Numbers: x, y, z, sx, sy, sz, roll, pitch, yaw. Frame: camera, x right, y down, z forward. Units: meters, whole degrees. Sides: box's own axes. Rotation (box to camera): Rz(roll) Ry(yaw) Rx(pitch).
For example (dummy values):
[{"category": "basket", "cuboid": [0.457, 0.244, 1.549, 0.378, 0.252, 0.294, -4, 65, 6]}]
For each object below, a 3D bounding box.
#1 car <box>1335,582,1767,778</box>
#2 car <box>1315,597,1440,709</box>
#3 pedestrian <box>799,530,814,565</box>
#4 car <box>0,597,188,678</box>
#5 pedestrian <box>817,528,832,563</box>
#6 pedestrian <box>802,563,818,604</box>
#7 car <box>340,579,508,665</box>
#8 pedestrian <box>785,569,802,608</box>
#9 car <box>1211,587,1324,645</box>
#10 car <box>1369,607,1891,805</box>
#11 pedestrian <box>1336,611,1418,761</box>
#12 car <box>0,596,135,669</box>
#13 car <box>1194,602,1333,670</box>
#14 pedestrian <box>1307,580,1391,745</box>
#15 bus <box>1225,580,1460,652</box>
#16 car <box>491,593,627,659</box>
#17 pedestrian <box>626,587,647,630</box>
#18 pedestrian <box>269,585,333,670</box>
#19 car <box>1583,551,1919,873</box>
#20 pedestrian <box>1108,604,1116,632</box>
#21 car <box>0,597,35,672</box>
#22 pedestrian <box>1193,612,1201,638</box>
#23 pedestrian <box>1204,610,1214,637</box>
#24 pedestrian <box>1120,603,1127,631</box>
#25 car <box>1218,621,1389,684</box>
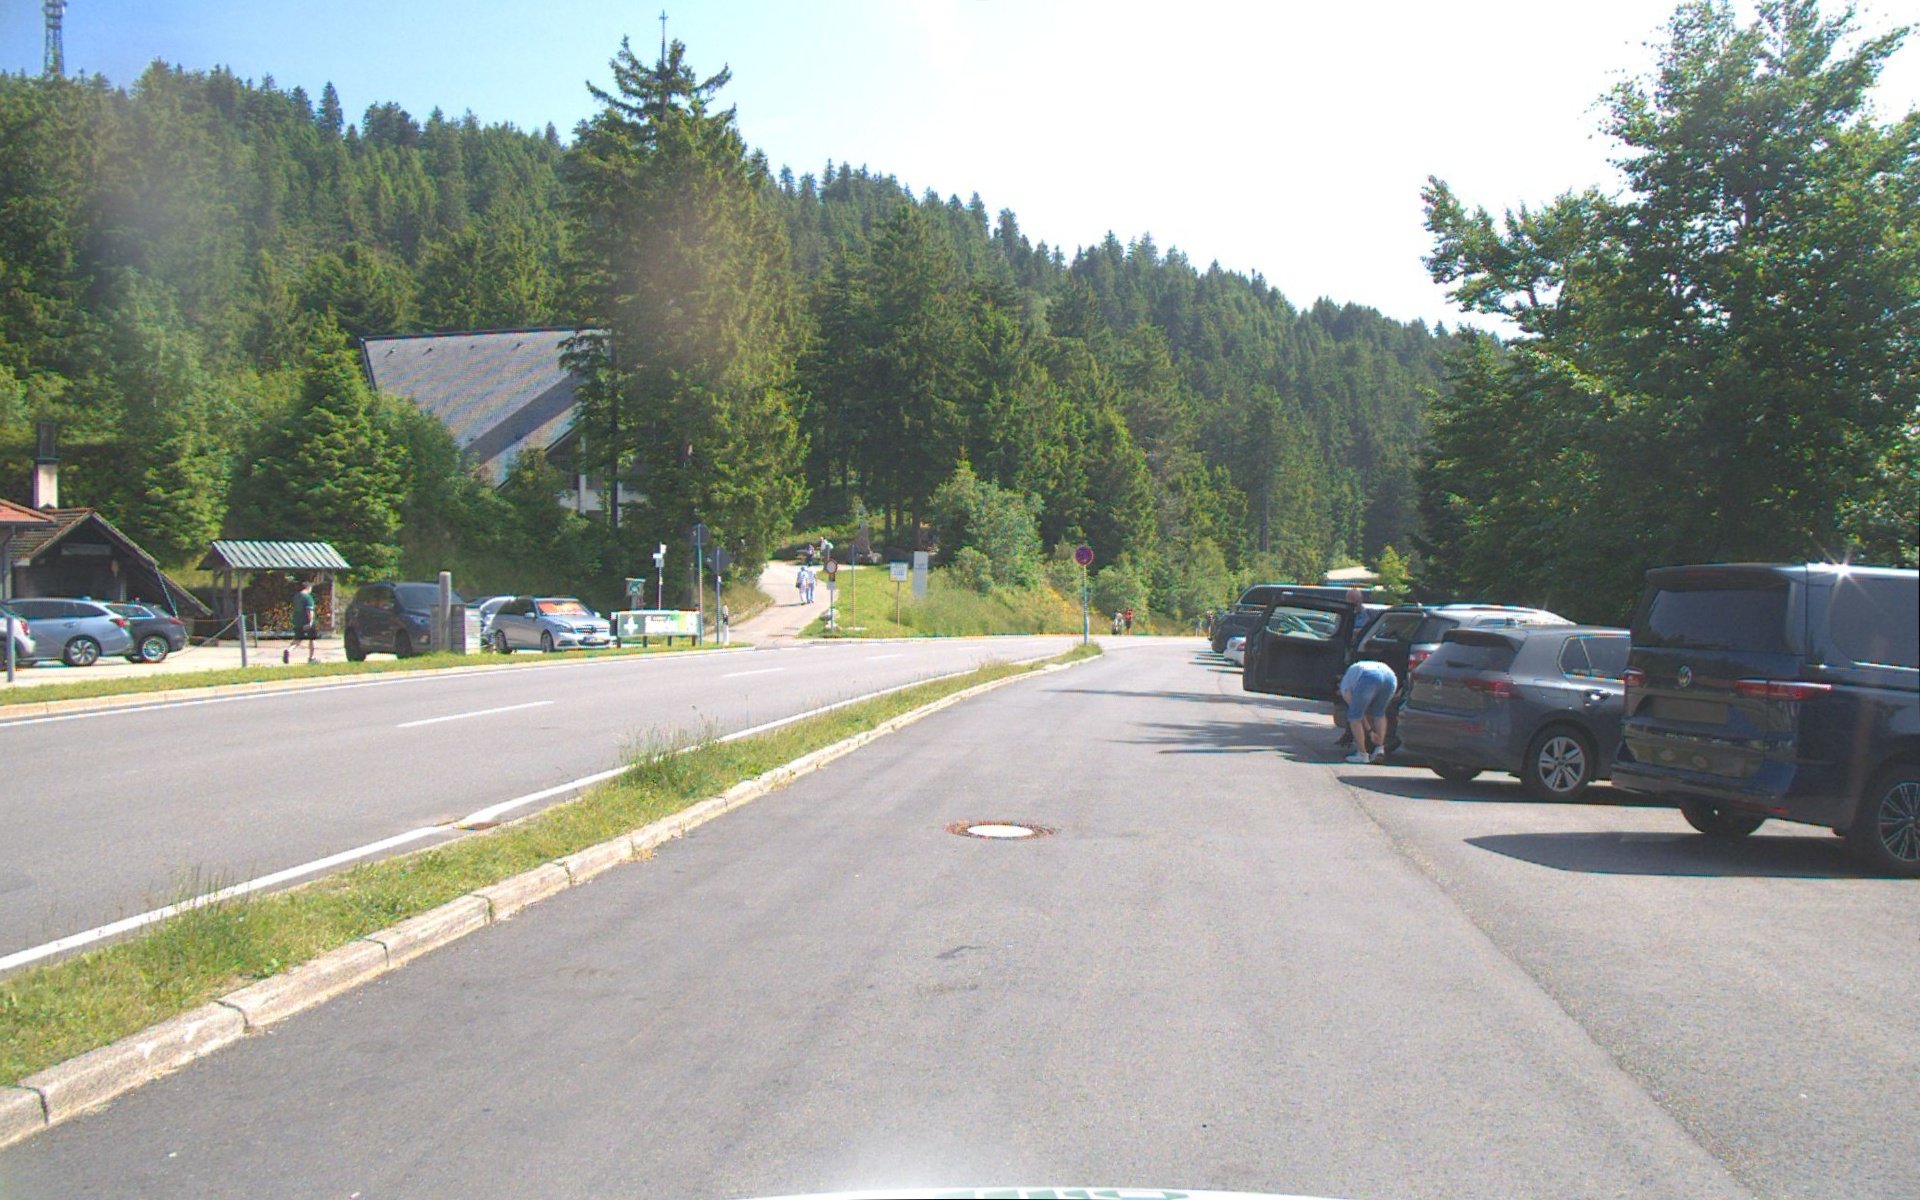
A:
[{"category": "car", "cuboid": [6.300, 0.839, 17.730, 3.928, 1.690, 1.989, 5, -1, -20]}, {"category": "car", "cuboid": [8.557, 1.027, 34.263, 1.865, 2.006, 4.823, 5, 0, 8]}, {"category": "pedestrian", "cuboid": [-8.947, -3.061, 96.615, 0.781, 2.048, 0.940, -1, 1, -1]}, {"category": "car", "cuboid": [-20.016, 0.808, 37.864, 3.955, 1.646, 1.975, -2, 2, -36]}, {"category": "pedestrian", "cuboid": [-7.979, -3.193, 97.540, 0.798, 2.048, 0.853, -1, 1, -1]}, {"category": "pedestrian", "cuboid": [-6.681, -0.717, 73.772, 0.639, 1.831, 0.643, 0, 0, 1]}, {"category": "car", "cuboid": [-11.106, 0.447, 34.145, 1.774, 1.662, 4.146, 1, -1, -42]}, {"category": "pedestrian", "cuboid": [-7.362, -0.513, 73.081, 0.639, 1.696, 0.643, 0, -2, 1]}, {"category": "car", "cuboid": [11.329, 0.574, 61.199, 3.903, 1.749, 1.869, 5, 2, 8]}, {"category": "car", "cuboid": [5.864, 0.914, 14.637, 3.919, 1.468, 1.834, 3, 0, -14]}, {"category": "pedestrian", "cuboid": [4.130, 0.839, 16.406, 0.757, 1.427, 0.670, -1, 1, 14]}, {"category": "car", "cuboid": [-19.806, 0.711, 35.019, 3.957, 1.444, 1.663, -2, 0, -37]}, {"category": "car", "cuboid": [9.490, 1.120, 51.979, 3.906, 1.728, 2.000, 5, 1, 0]}, {"category": "pedestrian", "cuboid": [4.373, 0.691, 18.597, 0.570, 1.791, 0.629, 4, 0, -22]}, {"category": "bus", "cuboid": [21.549, 0.810, 93.617, 12.605, 3.640, 2.980, 1, 2, 25]}, {"category": "car", "cuboid": [-9.766, 0.598, 40.087, 1.727, 1.466, 3.915, -2, 1, -38]}, {"category": "pedestrian", "cuboid": [-11.690, 0.300, 59.834, 0.565, 1.559, 0.553, -1, 1, 7]}, {"category": "pedestrian", "cuboid": [-14.141, 0.581, 35.497, 0.877, 1.764, 0.961, -1, 1, 7]}, {"category": "car", "cuboid": [6.968, 0.763, 11.338, 4.673, 1.912, 1.961, 3, 0, -11]}, {"category": "pedestrian", "cuboid": [9.553, 1.127, 103.977, 0.406, 1.777, 0.457, -1, 1, 7]}, {"category": "car", "cuboid": [-20.161, 0.731, 31.823, 3.956, 1.444, 1.663, -2, 0, -37]}, {"category": "pedestrian", "cuboid": [18.189, 1.914, 127.094, 0.609, 1.933, 0.655, -1, -2, 7]}, {"category": "pedestrian", "cuboid": [18.954, 1.826, 126.089, 0.717, 2.049, 0.863, -1, -2, 7]}, {"category": "pedestrian", "cuboid": [10.385, 1.096, 104.795, 0.386, 1.777, 0.406, -1, 1, 12]}, {"category": "car", "cuboid": [9.644, 1.468, 46.563, 4.371, 1.321, 1.579, 5, 0, -9]}]
